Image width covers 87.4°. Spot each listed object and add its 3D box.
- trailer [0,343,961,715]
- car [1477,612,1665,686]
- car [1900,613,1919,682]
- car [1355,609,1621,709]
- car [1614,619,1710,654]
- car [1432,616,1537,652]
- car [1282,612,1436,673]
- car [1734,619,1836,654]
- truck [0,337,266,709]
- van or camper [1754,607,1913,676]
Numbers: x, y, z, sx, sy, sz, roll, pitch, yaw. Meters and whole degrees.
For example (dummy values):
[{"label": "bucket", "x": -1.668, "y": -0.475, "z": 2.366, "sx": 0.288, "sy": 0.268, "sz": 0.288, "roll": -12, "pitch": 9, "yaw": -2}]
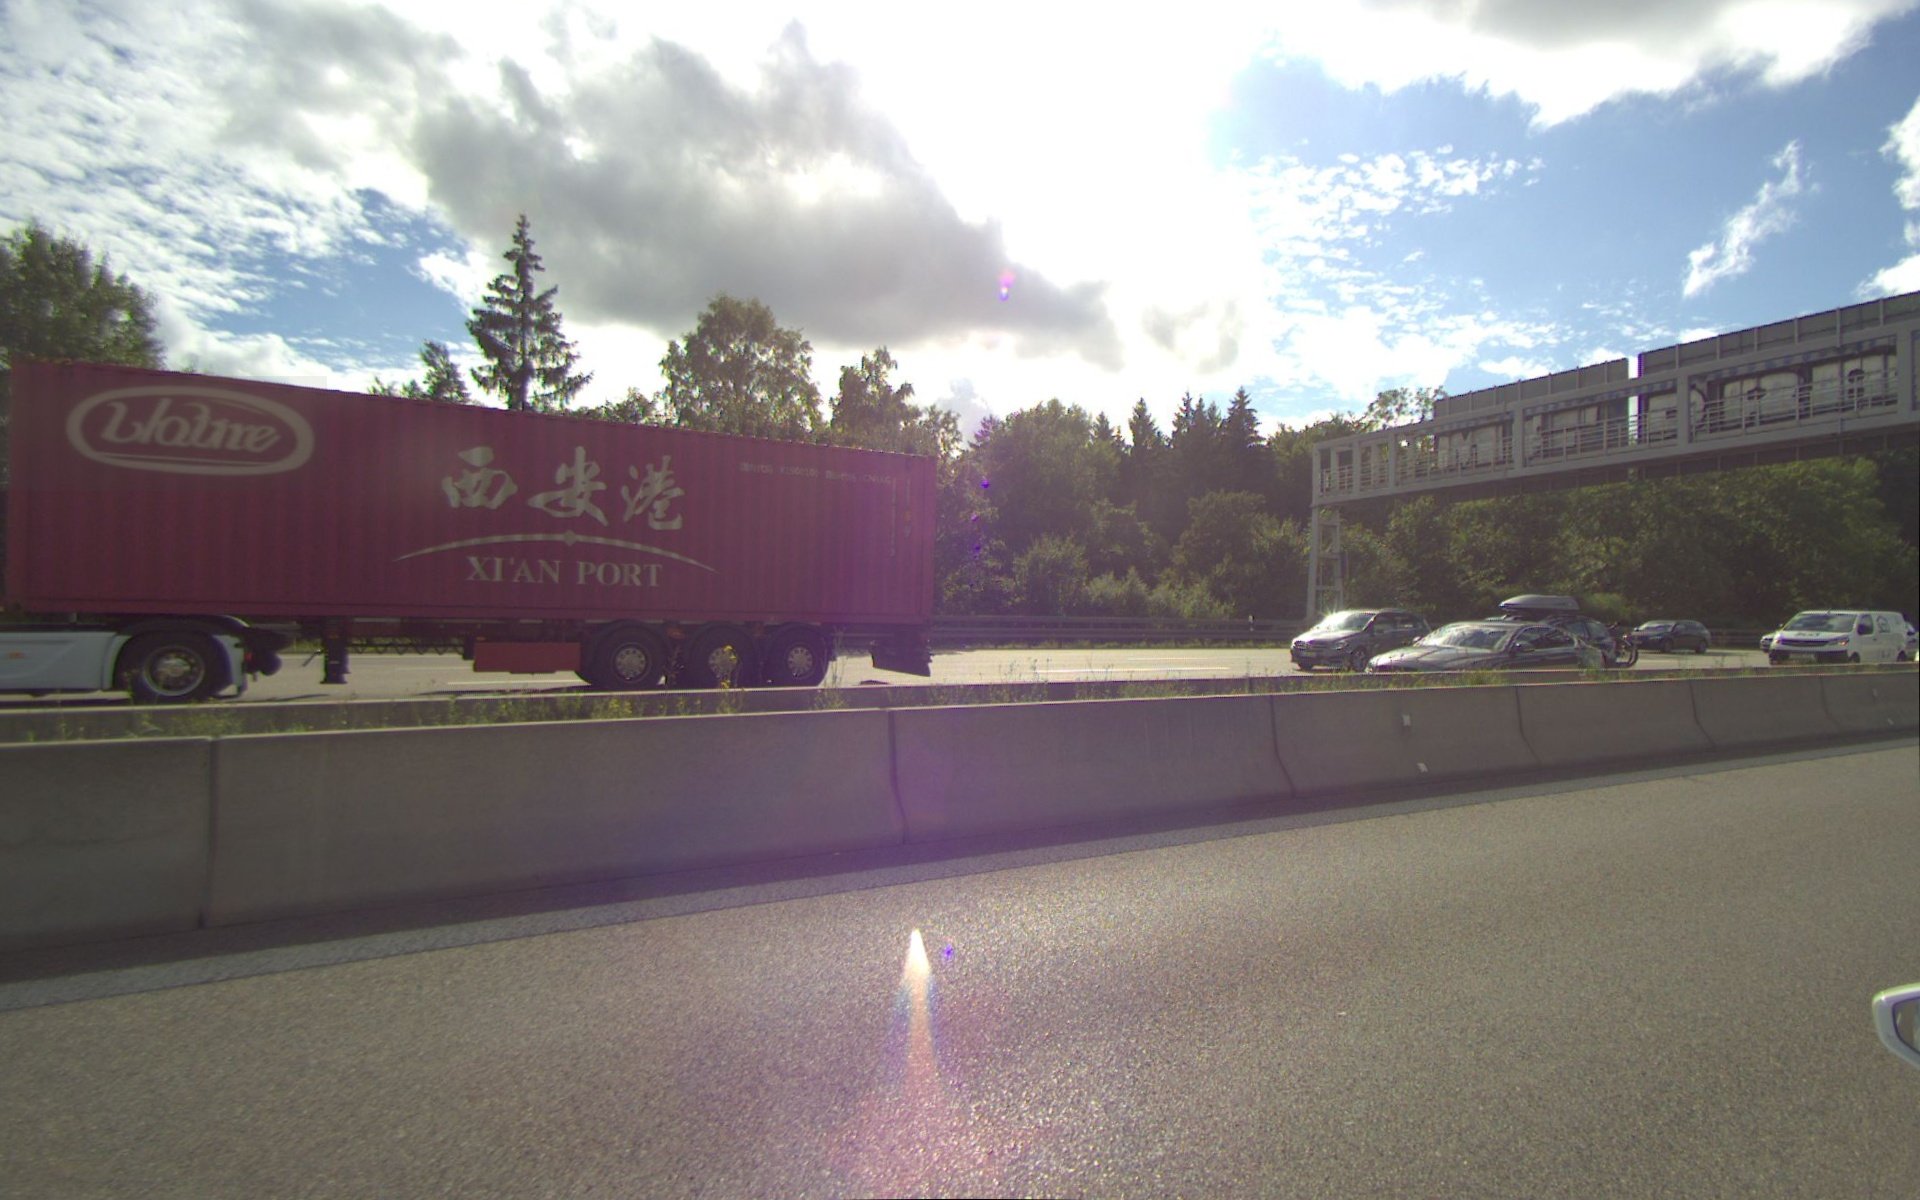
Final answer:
[{"label": "trailer", "x": -6.375, "y": -0.669, "z": 15.505, "sx": 13.262, "sy": 4.161, "sz": 2.725, "roll": 1, "pitch": 0, "yaw": -31}, {"label": "car", "x": 14.246, "y": 1.112, "z": 23.350, "sx": 4.628, "sy": 1.549, "sz": 1.691, "roll": 1, "pitch": 0, "yaw": -30}, {"label": "car", "x": 25.724, "y": 1.216, "z": 25.311, "sx": 4.466, "sy": 1.671, "sz": 1.761, "roll": 1, "pitch": 0, "yaw": -30}, {"label": "car", "x": 8.612, "y": 0.894, "z": 16.286, "sx": 4.498, "sy": 1.393, "sz": 1.783, "roll": 1, "pitch": 0, "yaw": -32}, {"label": "car", "x": 31.271, "y": 1.634, "z": 44.701, "sx": 4.652, "sy": 1.460, "sz": 1.693, "roll": 1, "pitch": 0, "yaw": -30}, {"label": "car", "x": 20.622, "y": 1.338, "z": 39.441, "sx": 4.134, "sy": 1.305, "sz": 1.693, "roll": 1, "pitch": 0, "yaw": -30}, {"label": "car", "x": 10.328, "y": 1.079, "z": 25.912, "sx": 3.954, "sy": 1.435, "sz": 1.629, "roll": 1, "pitch": 0, "yaw": -31}, {"label": "car", "x": 40.007, "y": 1.760, "z": 48.696, "sx": 5.062, "sy": 1.566, "sz": 1.811, "roll": 1, "pitch": 0, "yaw": -25}, {"label": "truck", "x": -11.995, "y": -0.885, "z": 12.096, "sx": 5.698, "sy": 4.161, "sz": 2.725, "roll": 1, "pitch": 0, "yaw": -31}, {"label": "van or camper", "x": 25.937, "y": 1.203, "z": 29.797, "sx": 5.090, "sy": 1.875, "sz": 1.855, "roll": 1, "pitch": 0, "yaw": -28}]
